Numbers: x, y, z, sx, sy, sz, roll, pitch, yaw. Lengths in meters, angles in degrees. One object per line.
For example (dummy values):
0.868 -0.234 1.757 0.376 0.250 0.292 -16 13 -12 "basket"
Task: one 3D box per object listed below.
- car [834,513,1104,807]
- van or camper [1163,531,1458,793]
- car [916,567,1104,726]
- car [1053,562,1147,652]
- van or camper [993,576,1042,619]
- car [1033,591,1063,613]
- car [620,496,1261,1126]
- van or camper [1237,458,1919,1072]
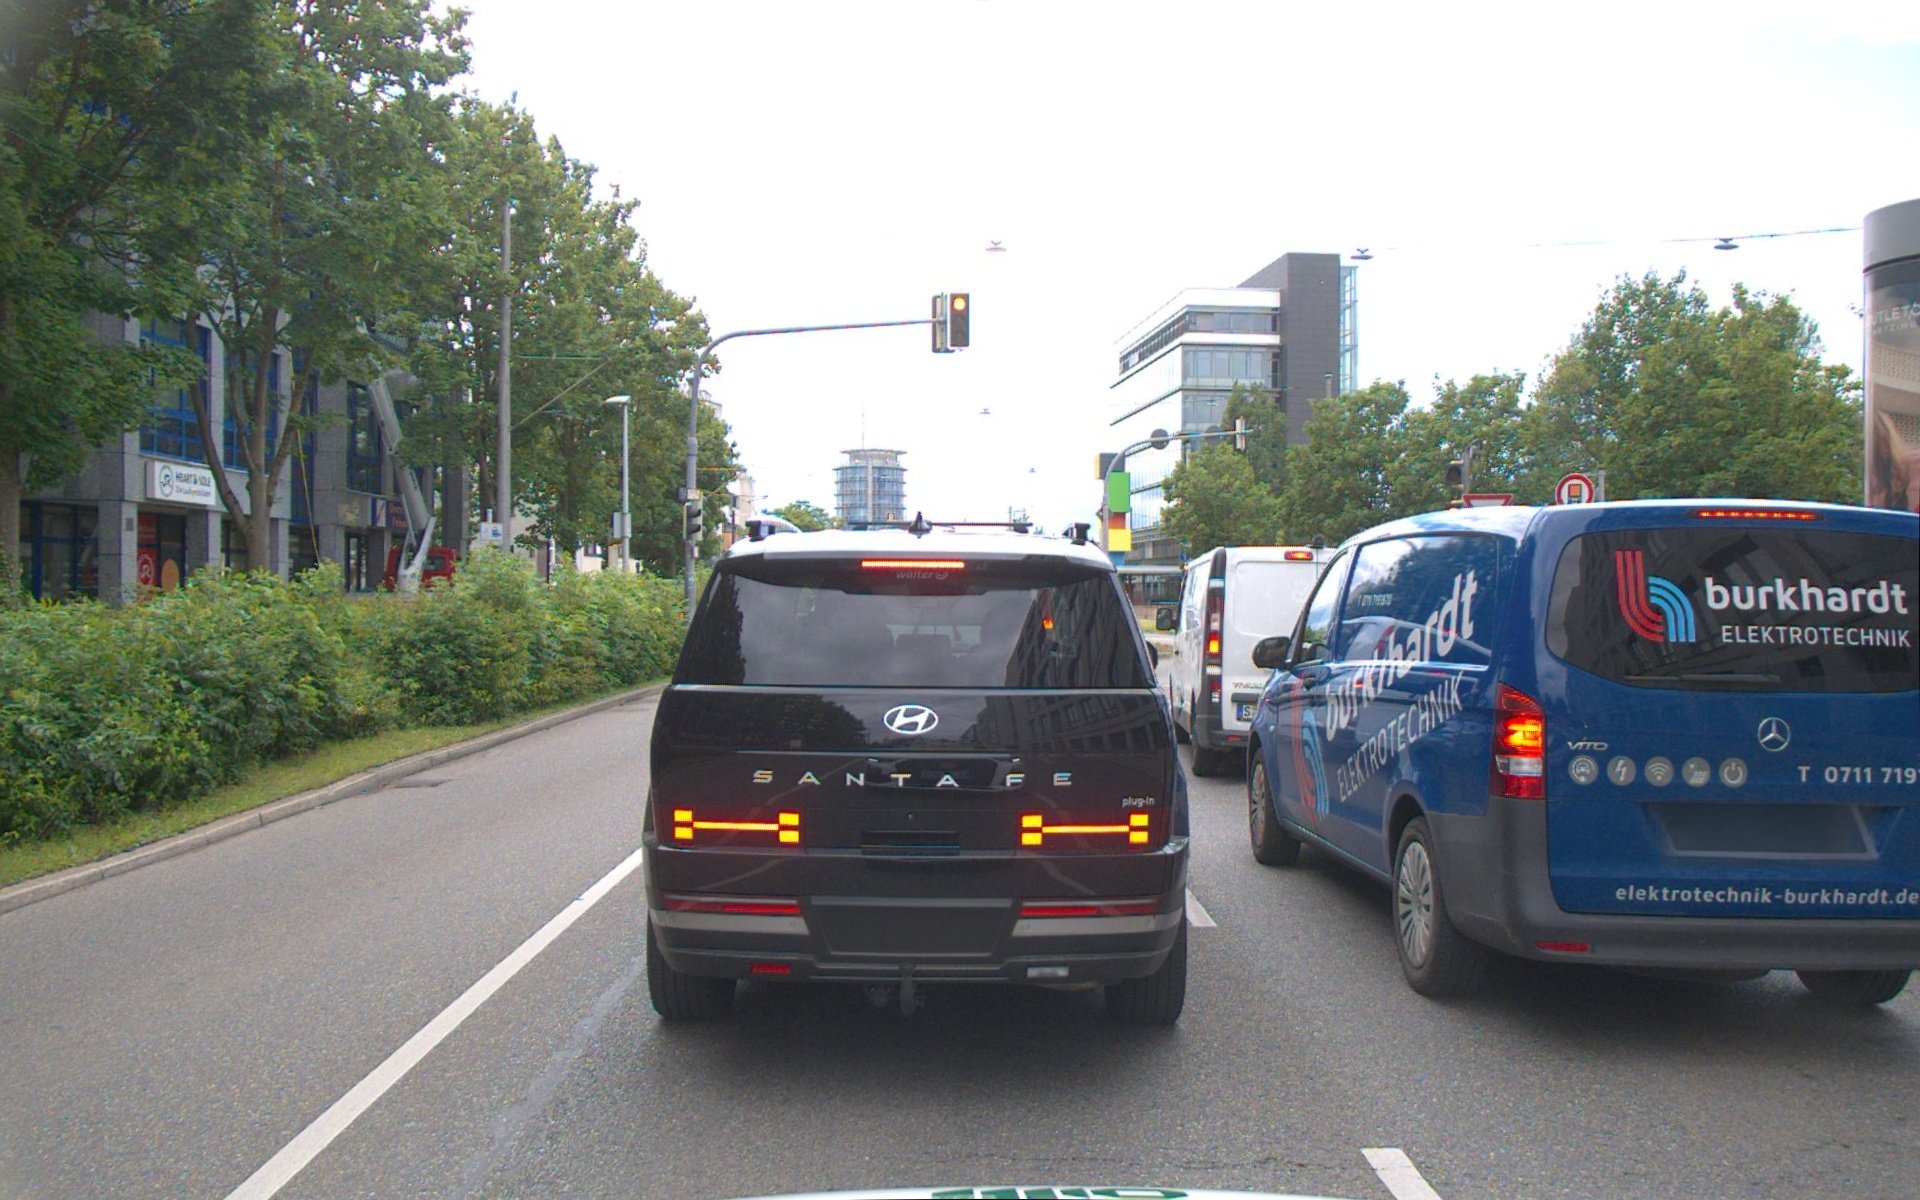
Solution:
0.034 0.408 13.435 1.876 2.038 3.879 0 0 -1 "car"
3.065 0.480 15.449 1.952 2.049 4.654 1 0 3 "van or camper"
0.735 0.529 20.537 1.738 1.747 4.342 1 0 10 "car"
3.350 0.179 40.341 1.952 2.049 4.000 1 0 0 "car"
3.660 -0.101 103.200 1.951 2.591 6.583 0 0 12 "van or camper"
7.021 0.181 131.918 1.954 1.713 3.997 1 0 -3 "car"
-0.077 0.592 6.667 1.831 1.791 3.879 0 0 -1 "car"
2.667 0.512 7.776 1.822 1.944 5.031 0 0 -1 "van or camper"
